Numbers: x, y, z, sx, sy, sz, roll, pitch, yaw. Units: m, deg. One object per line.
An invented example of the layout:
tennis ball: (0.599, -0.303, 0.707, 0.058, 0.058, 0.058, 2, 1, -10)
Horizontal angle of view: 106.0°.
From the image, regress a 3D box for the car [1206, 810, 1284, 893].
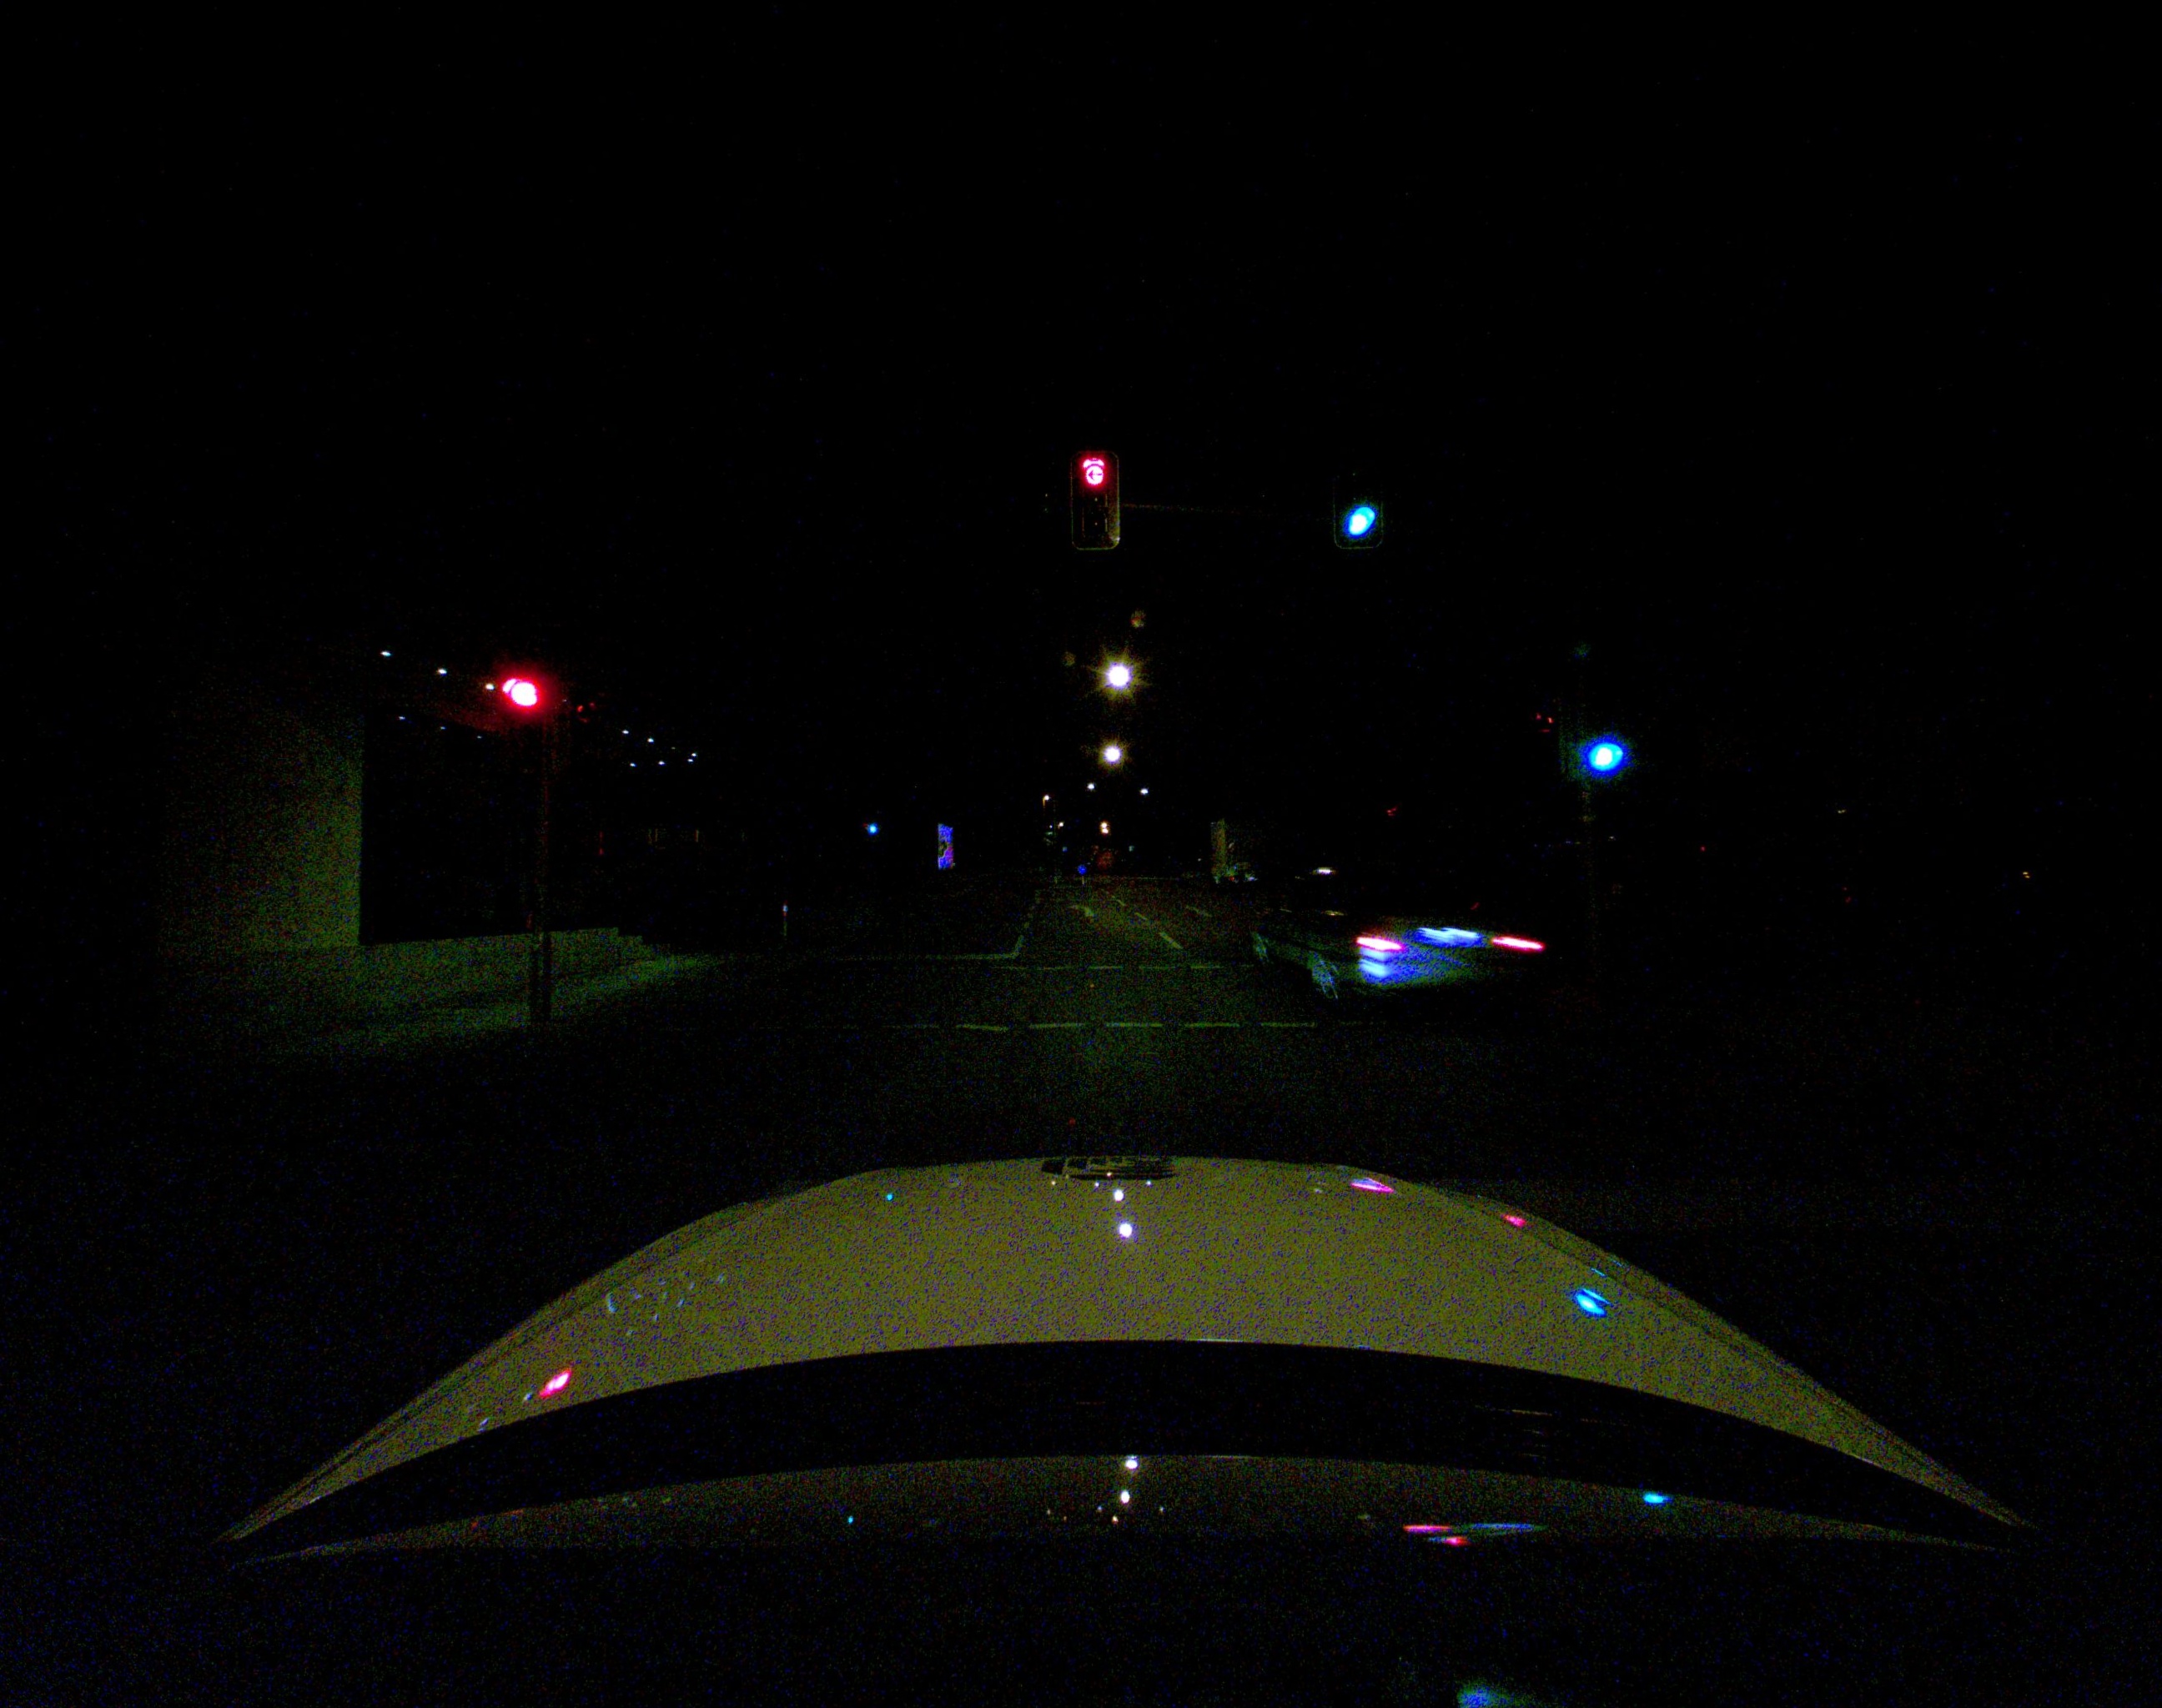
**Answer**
car: (6.763, -0.090, 34.228, 2.287, 3.093, 5.845, -2, -1, 3)

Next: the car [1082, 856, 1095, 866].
car: (1.249, 1.162, 134.509, 1.901, 1.557, 3.906, 0, -1, 2)

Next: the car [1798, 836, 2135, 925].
car: (17.457, 0.560, 16.292, 4.342, 1.560, 1.807, -2, -3, 8)

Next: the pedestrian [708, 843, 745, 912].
pedestrian: (-9.257, 0.602, 21.298, 0.568, 1.778, 0.737, 1, -1, 1)

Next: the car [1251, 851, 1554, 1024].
car: (3.196, 0.735, 9.046, 1.770, 1.486, 3.999, 0, -1, 0)

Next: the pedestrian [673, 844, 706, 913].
pedestrian: (-9.976, 0.629, 20.766, 0.568, 1.731, 0.544, 0, -1, 1)
